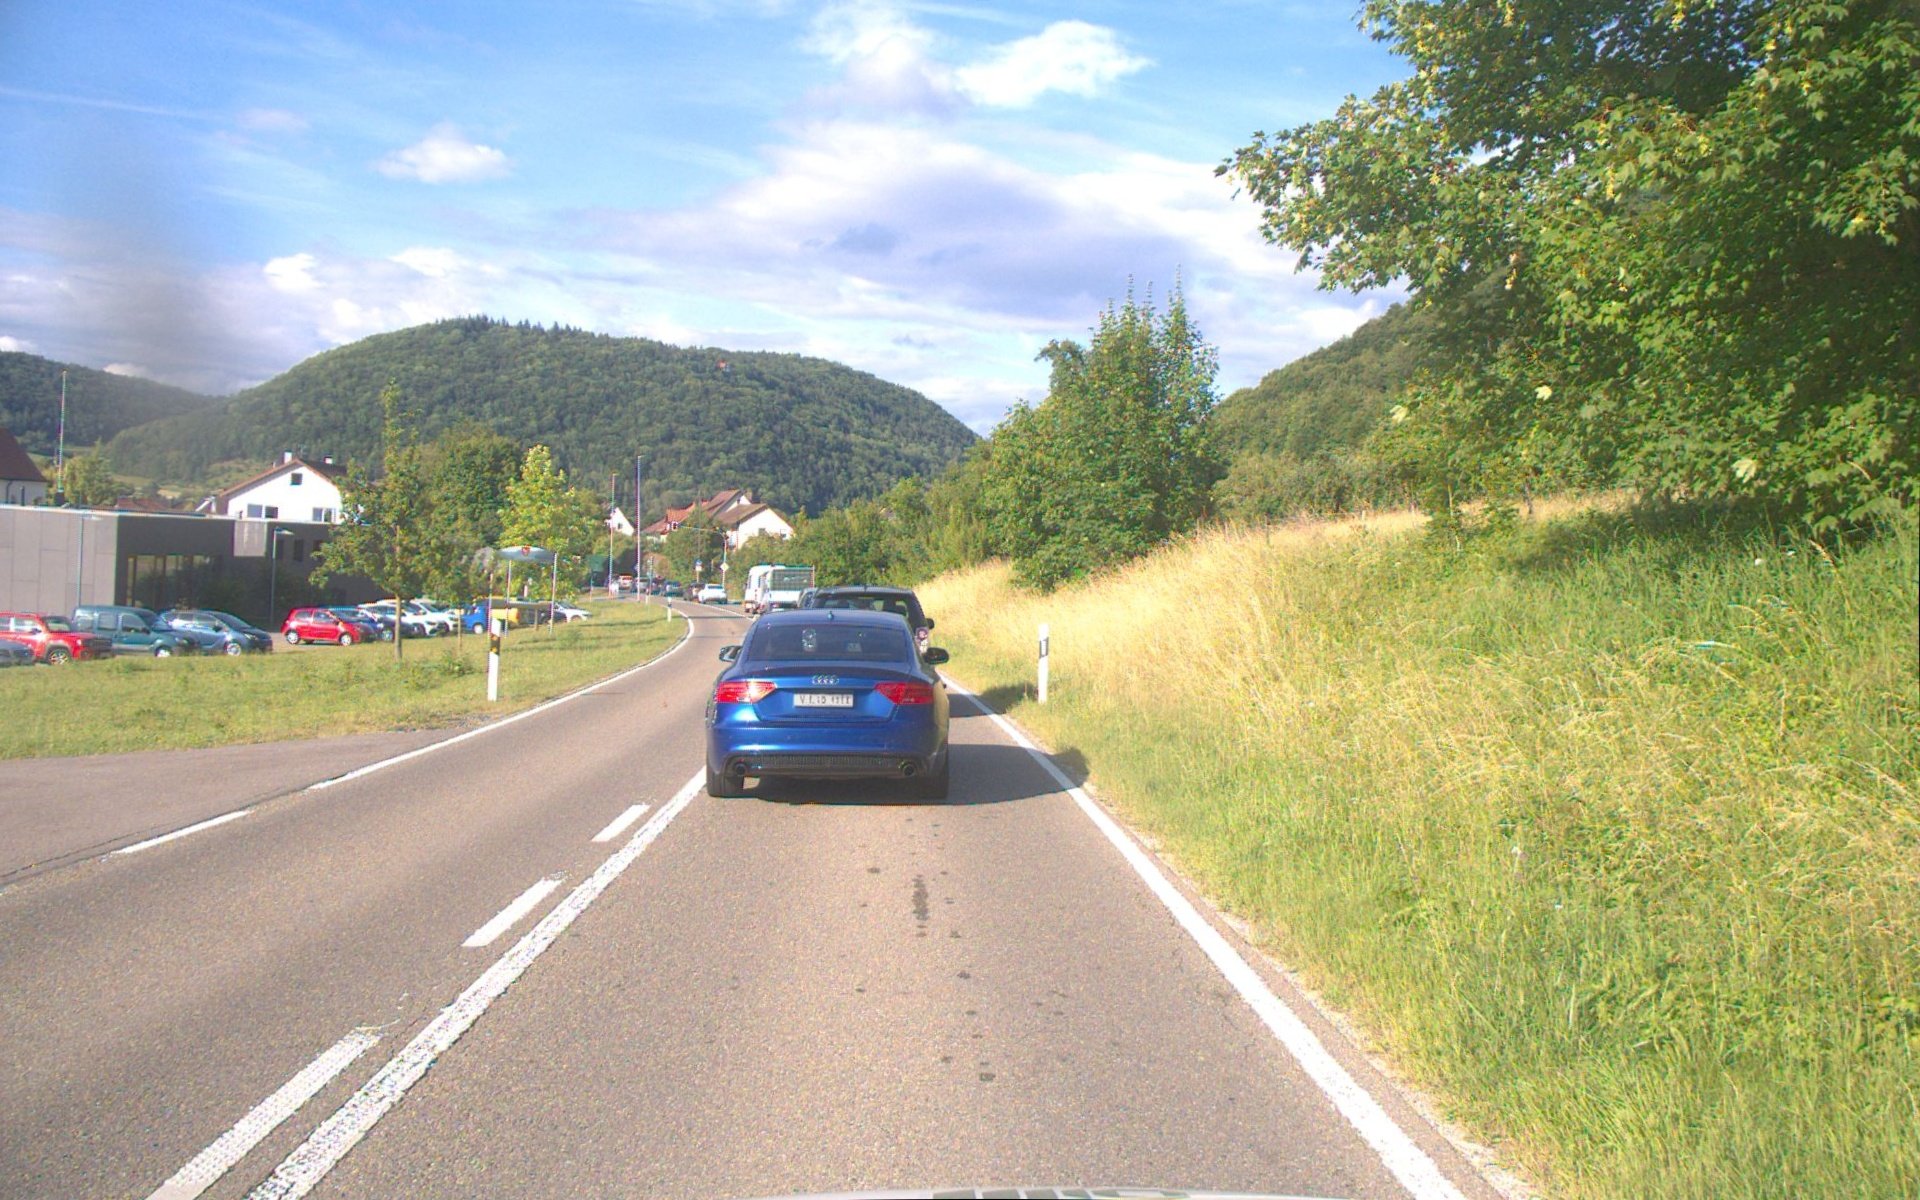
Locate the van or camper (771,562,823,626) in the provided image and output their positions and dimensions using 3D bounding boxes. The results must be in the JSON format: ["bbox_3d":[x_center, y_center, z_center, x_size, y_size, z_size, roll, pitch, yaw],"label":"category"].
[{"bbox_3d":[-6.844,-0.252,68.925,2.013,2.549,5.802,0,0,-7],"label":"van or camper"}]

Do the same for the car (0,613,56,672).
[{"bbox_3d":[-28.166,1.174,46.356,4.544,1.616,2.001,0,0,2],"label":"car"}]

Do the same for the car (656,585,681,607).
[{"bbox_3d":[-26.228,-0.349,148.876,1.634,1.958,3.978,0,0,-19],"label":"car"}]

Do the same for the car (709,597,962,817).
[{"bbox_3d":[-0.931,0.721,12.951,1.708,1.476,3.515,0,0,-3],"label":"car"}]

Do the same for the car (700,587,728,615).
[{"bbox_3d":[-18.018,0.074,121.141,1.631,1.958,3.985,0,0,-14],"label":"car"}]

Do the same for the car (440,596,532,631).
[{"bbox_3d":[-25.724,0.744,89.832,4.458,1.846,1.842,0,0,3],"label":"car"}]

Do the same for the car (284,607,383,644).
[{"bbox_3d":[-26.372,1.069,69.675,3.548,1.469,1.649,0,0,3],"label":"car"}]

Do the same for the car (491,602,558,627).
[{"bbox_3d":[-26.331,0.891,100.040,3.634,1.464,1.510,0,0,3],"label":"car"}]

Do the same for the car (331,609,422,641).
[{"bbox_3d":[-26.375,1.114,74.799,3.548,1.430,1.597,0,-1,3],"label":"car"}]

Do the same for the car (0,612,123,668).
[{"bbox_3d":[-27.287,1.183,49.249,3.838,1.606,1.756,0,0,2],"label":"car"}]

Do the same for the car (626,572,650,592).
[{"bbox_3d":[-32.725,-1.838,167.992,1.653,1.958,3.974,0,0,-21],"label":"car"}]

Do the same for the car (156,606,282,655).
[{"bbox_3d":[-26.650,1.087,59.536,3.738,1.752,1.732,0,0,2],"label":"car"}]

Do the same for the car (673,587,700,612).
[{"bbox_3d":[-21.867,-0.072,132.179,1.633,1.958,3.982,0,0,-16],"label":"car"}]

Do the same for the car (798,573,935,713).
[{"bbox_3d":[-1.253,0.518,21.755,1.613,1.653,3.514,2,0,-4],"label":"car"}]

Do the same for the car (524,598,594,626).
[{"bbox_3d":[-25.311,0.748,104.385,3.951,1.689,1.656,0,0,3],"label":"car"}]

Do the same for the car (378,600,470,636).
[{"bbox_3d":[-26.338,0.871,81.315,3.991,1.702,1.597,0,1,3],"label":"car"}]

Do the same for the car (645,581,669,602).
[{"bbox_3d":[-29.039,-0.796,158.343,1.652,1.958,3.976,0,0,-20],"label":"car"}]

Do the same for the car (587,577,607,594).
[{"bbox_3d":[-42.472,-1.645,193.463,1.653,1.958,3.974,0,0,-21],"label":"car"}]

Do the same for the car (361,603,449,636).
[{"bbox_3d":[-26.144,0.925,77.915,3.589,1.520,1.597,0,-1,3],"label":"car"}]

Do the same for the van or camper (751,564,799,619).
[{"bbox_3d":[-9.793,-0.434,87.366,2.239,2.761,5.755,0,0,-9],"label":"van or camper"}]

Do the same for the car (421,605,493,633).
[{"bbox_3d":[-26.501,0.987,87.225,3.303,1.397,1.659,-1,0,-5],"label":"car"}]

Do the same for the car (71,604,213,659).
[{"bbox_3d":[-27.109,1.034,54.887,3.782,1.752,1.756,1,0,0],"label":"car"}]

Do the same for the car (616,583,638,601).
[{"bbox_3d":[-35.743,-0.825,177.253,1.653,1.958,3.974,0,0,-21],"label":"car"}]
